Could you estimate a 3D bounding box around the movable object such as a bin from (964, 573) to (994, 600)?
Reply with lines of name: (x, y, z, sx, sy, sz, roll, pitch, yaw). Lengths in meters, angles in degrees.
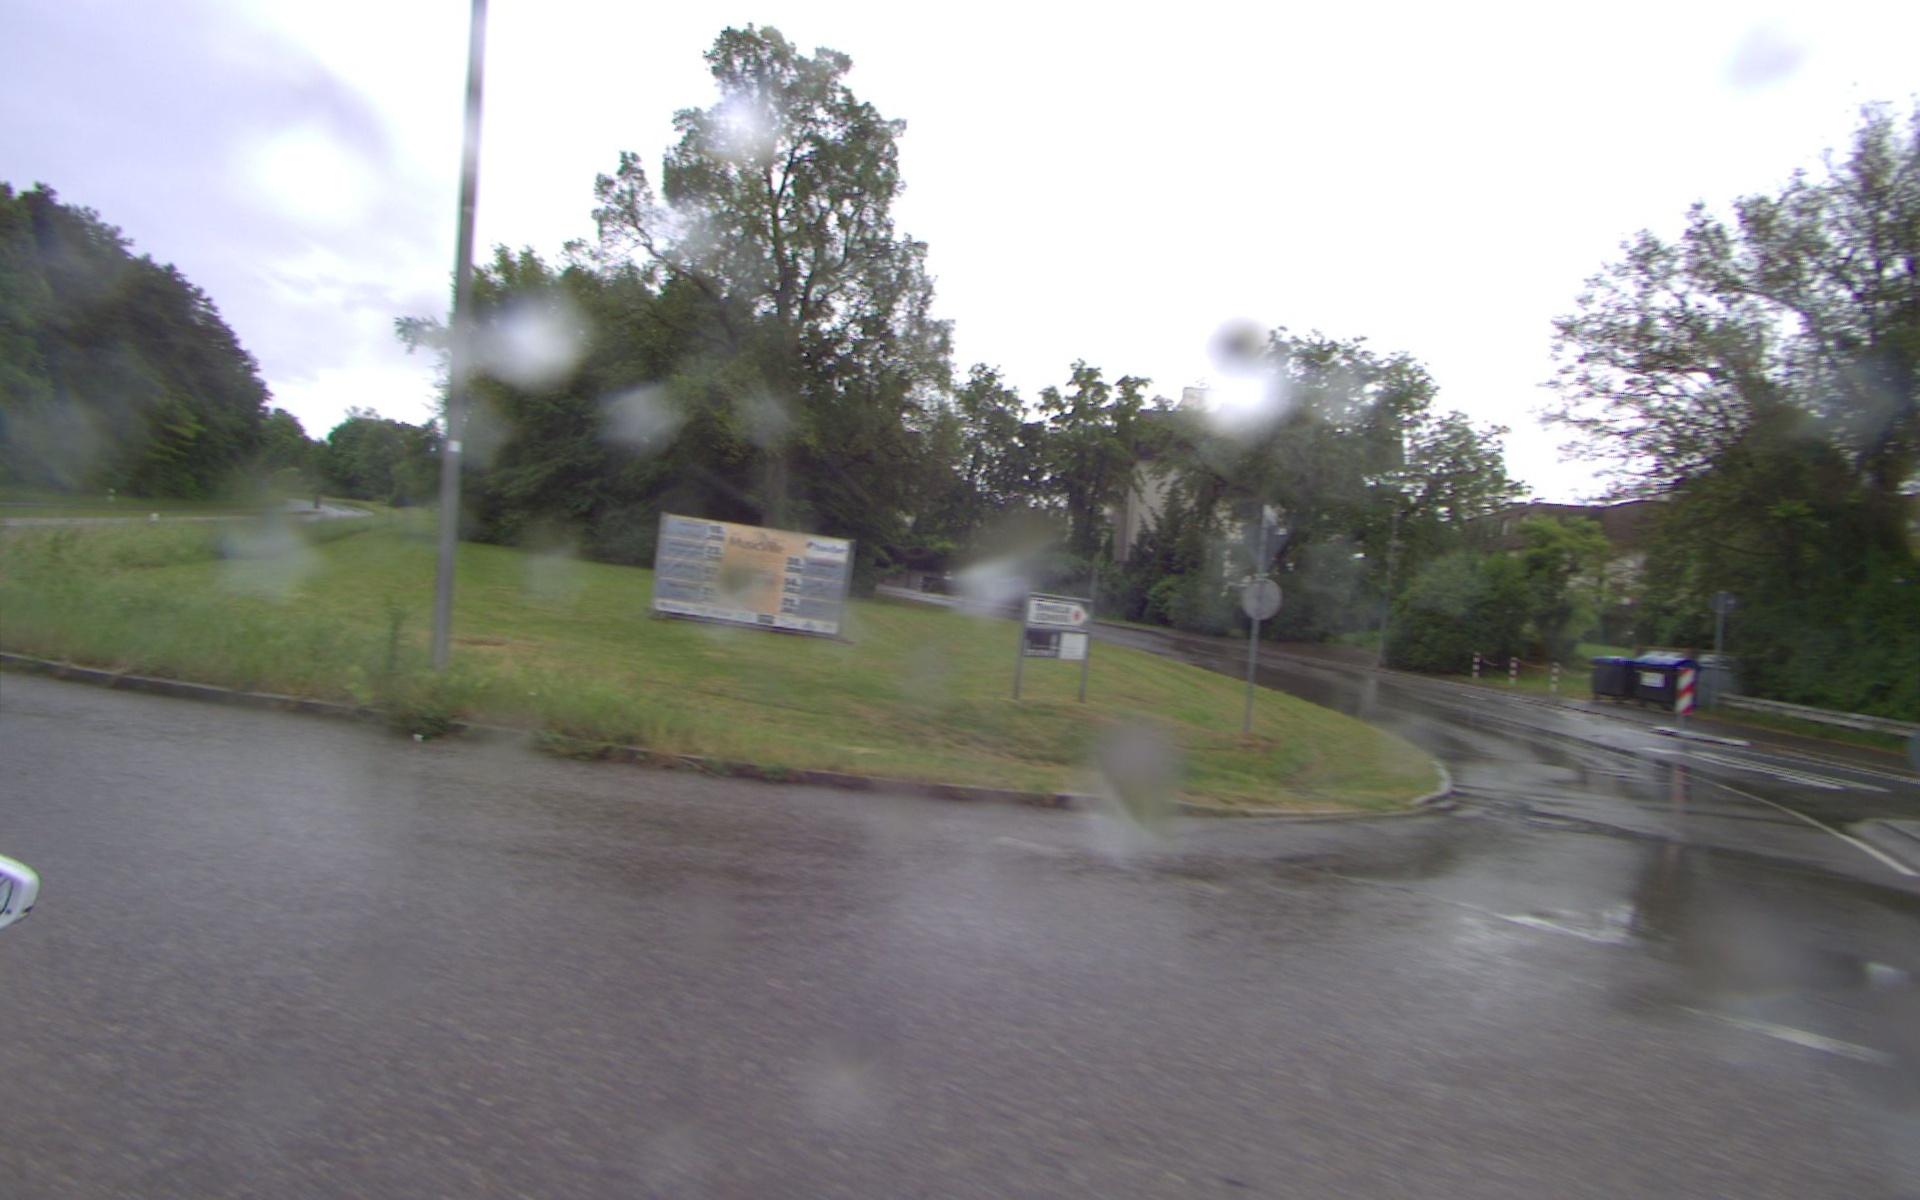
movable object such as a bin: (1.132, -0.813, 60.521, 1.181, 1.456, 1.421, 6, 2, -21)

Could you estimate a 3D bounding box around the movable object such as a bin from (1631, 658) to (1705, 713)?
movable object such as a bin: (19.537, 2.349, 27.787, 1.176, 1.360, 1.073, 3, 2, -6)

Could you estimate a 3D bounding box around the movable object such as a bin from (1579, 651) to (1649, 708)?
movable object such as a bin: (19.029, 2.308, 29.287, 1.176, 1.455, 1.073, 6, 1, -6)
